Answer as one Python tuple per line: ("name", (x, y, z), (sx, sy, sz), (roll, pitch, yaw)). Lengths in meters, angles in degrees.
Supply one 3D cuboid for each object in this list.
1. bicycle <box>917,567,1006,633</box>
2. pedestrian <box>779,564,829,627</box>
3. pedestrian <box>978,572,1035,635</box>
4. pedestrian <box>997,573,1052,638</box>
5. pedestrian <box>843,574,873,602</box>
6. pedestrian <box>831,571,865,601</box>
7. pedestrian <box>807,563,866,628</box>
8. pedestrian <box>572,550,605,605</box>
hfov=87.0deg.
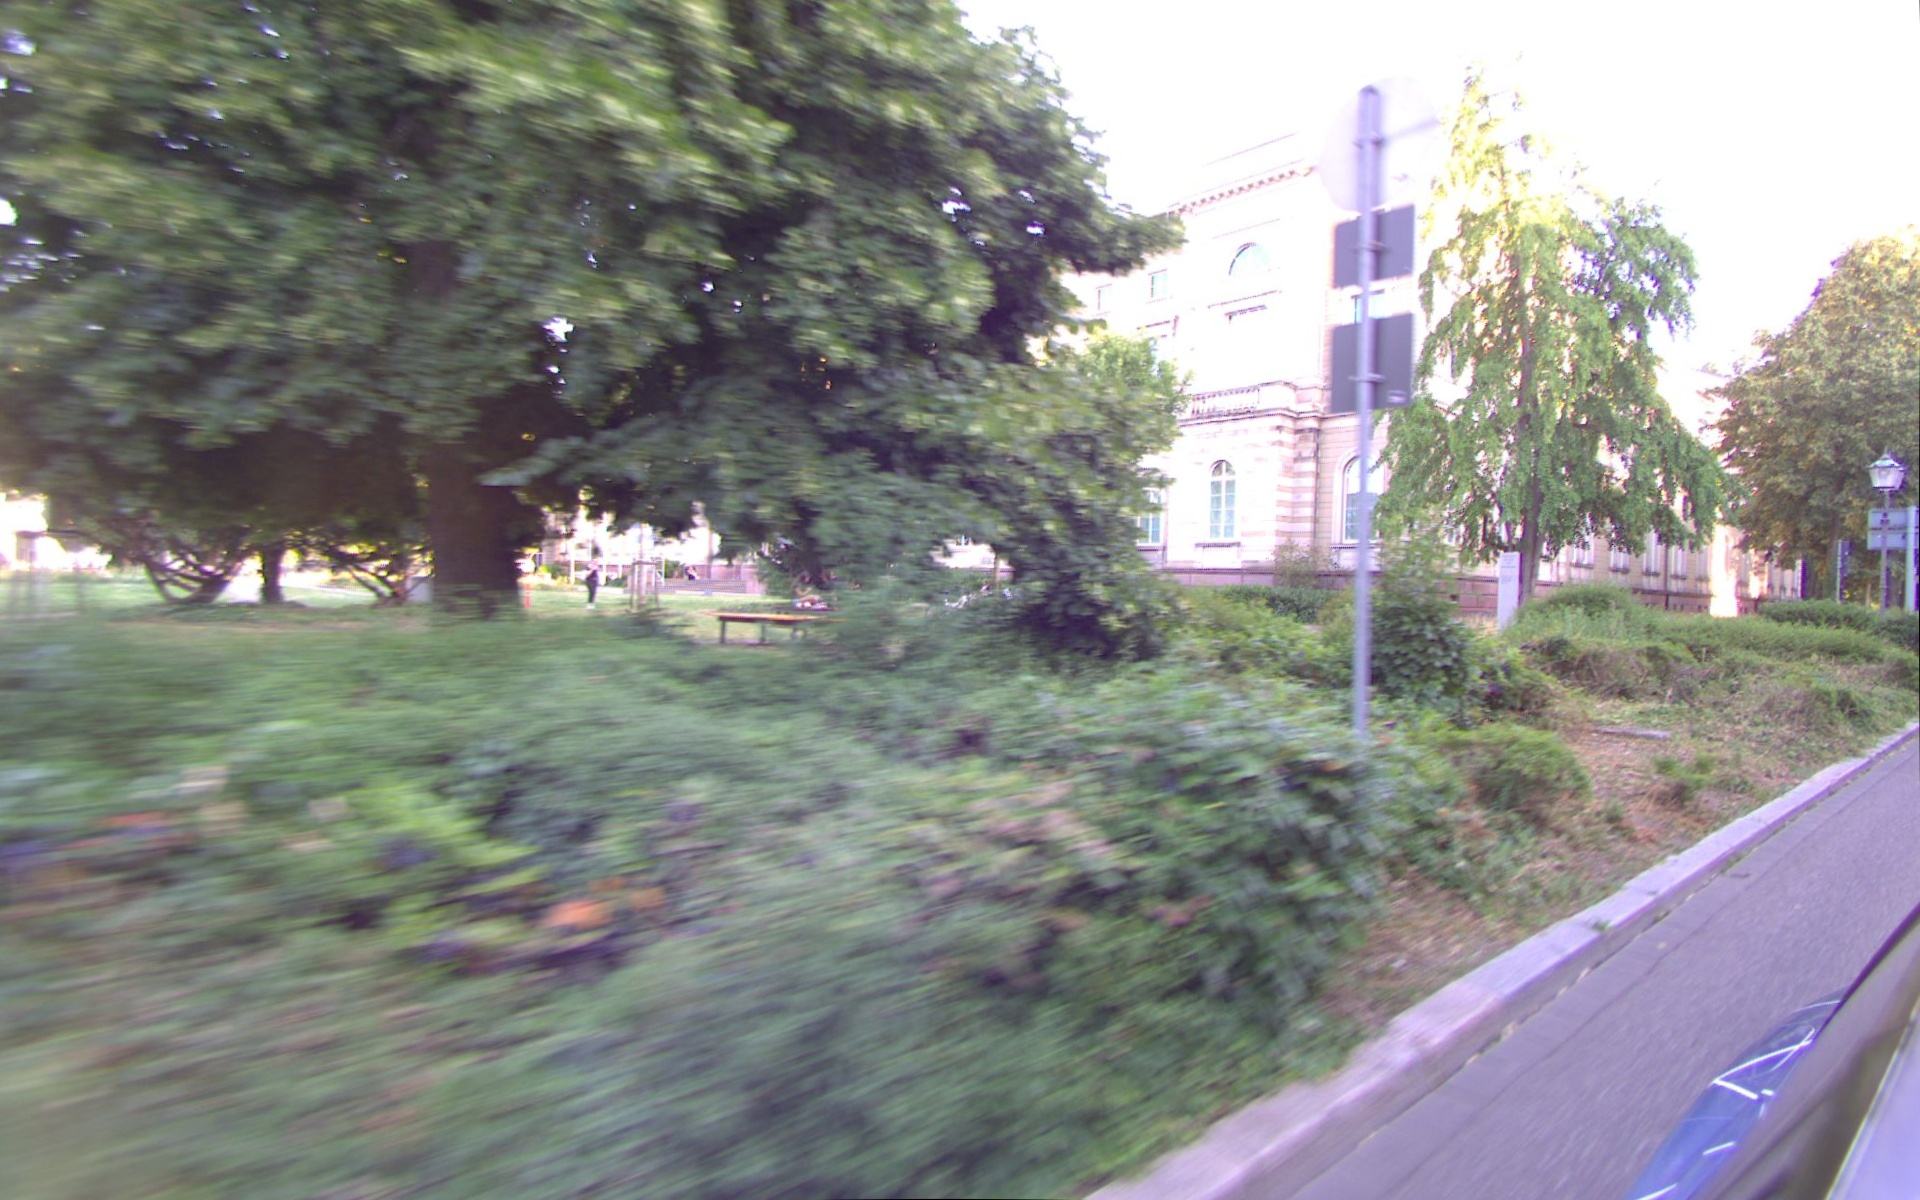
("bicycle", (0.050, -0.005, 21.054), (0.620, 1.316, 1.986), (3, 2, 45))
("pedestrian", (-3.481, -0.107, 22.548), (0.756, 1.364, 0.778), (2, 1, 33))
("pedestrian", (0.929, 0.058, 20.272), (0.774, 1.206, 0.809), (1, 1, -37))
("pedestrian", (1.238, 0.095, 19.521), (0.733, 1.206, 0.724), (1, 1, -37))
("pedestrian", (-5.326, -0.648, 52.927), (1.427, 1.414, 0.695), (1, 1, -41))
("pedestrian", (-5.954, -0.735, 53.823), (1.540, 1.575, 0.801), (1, 1, -41))
("pedestrian", (-2.694, -0.108, 22.162), (0.913, 1.364, 0.874), (2, 1, 34))
("pedestrian", (-12.094, -0.737, 32.929), (0.746, 1.769, 0.771), (1, 1, -44))
